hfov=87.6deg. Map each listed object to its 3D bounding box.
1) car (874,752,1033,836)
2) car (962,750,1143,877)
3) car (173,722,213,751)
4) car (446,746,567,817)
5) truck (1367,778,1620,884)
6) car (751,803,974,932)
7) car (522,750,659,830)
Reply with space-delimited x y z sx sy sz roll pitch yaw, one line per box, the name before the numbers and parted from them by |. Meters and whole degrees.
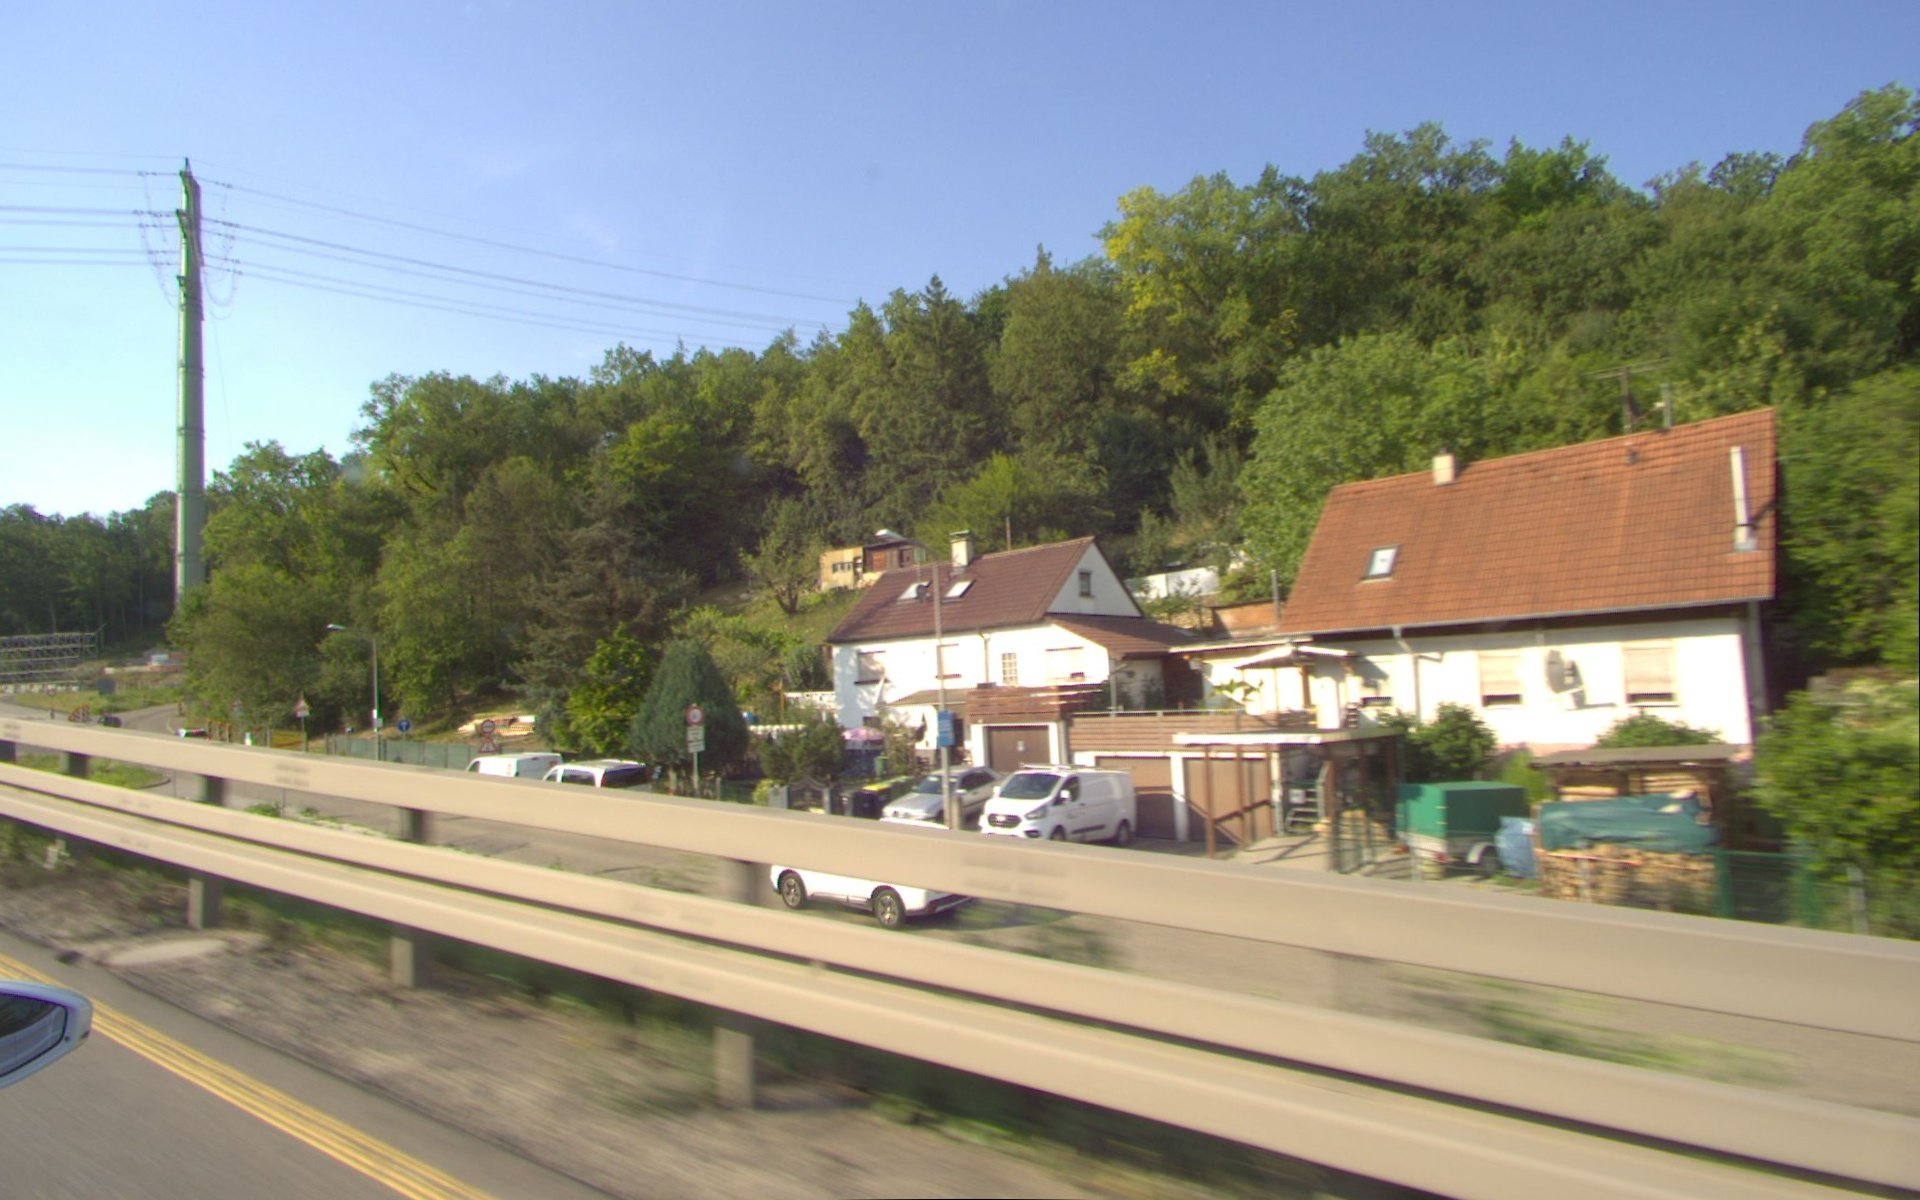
car | -0.068 5.338 28.139 1.695 1.576 5.073 -3 -3 37
car | 2.489 5.270 25.543 1.976 2.292 5.448 -3 -4 37
car | -50.313 8.926 65.683 4.225 1.479 1.516 -2 -1 45
car | -16.220 6.380 35.713 4.993 2.011 1.855 -4 -2 39
truck | 10.368 4.448 19.619 3.926 1.756 2.003 1 -8 -12
car | -1.989 5.096 19.574 4.419 1.682 1.661 -4 -2 39
car | -11.781 5.928 31.794 4.811 1.941 1.986 -5 -3 41
